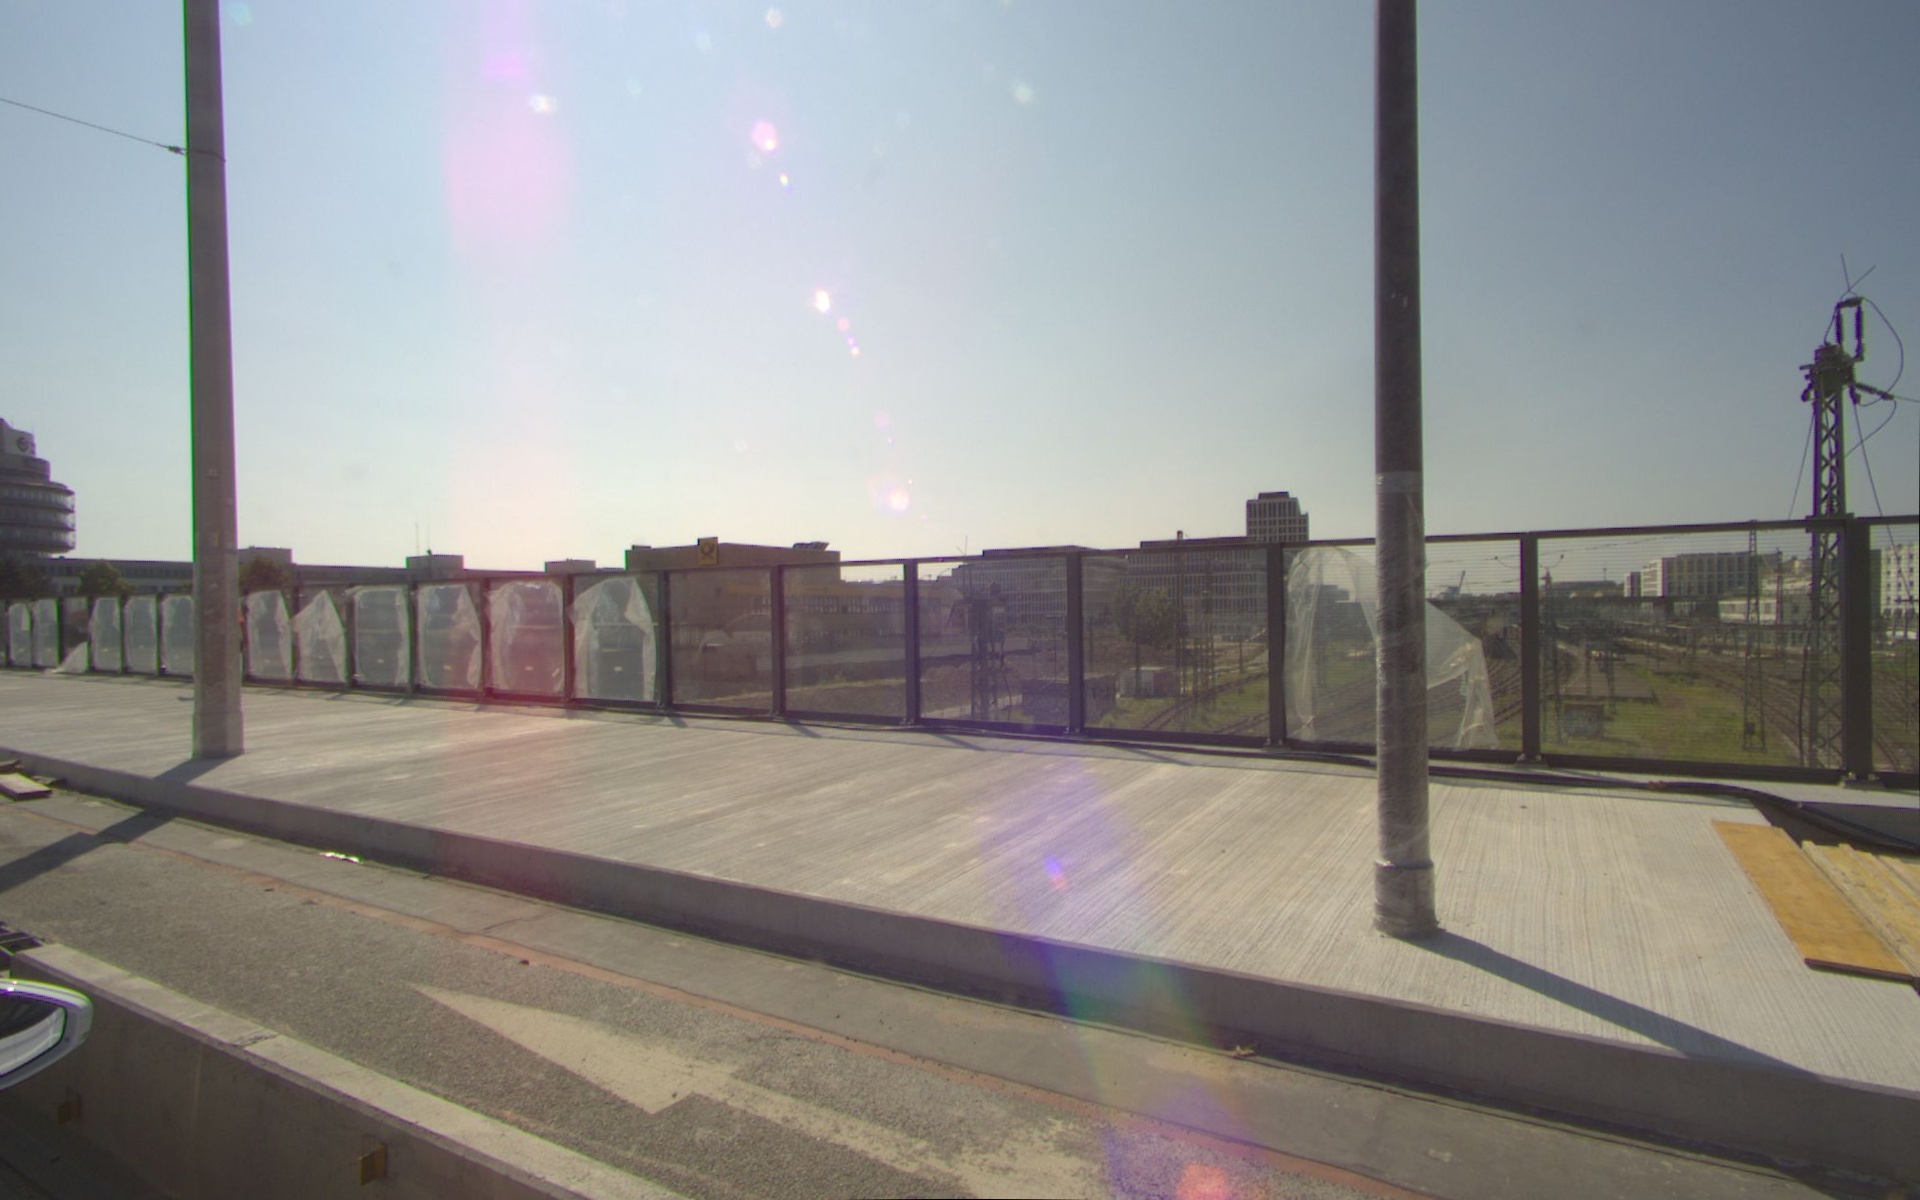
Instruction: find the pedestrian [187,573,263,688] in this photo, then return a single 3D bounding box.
[{"bbox_3d":[-12.895,0.530,17.580,0.788,1.961,0.780,-1,1,32],"label":"pedestrian"}]
